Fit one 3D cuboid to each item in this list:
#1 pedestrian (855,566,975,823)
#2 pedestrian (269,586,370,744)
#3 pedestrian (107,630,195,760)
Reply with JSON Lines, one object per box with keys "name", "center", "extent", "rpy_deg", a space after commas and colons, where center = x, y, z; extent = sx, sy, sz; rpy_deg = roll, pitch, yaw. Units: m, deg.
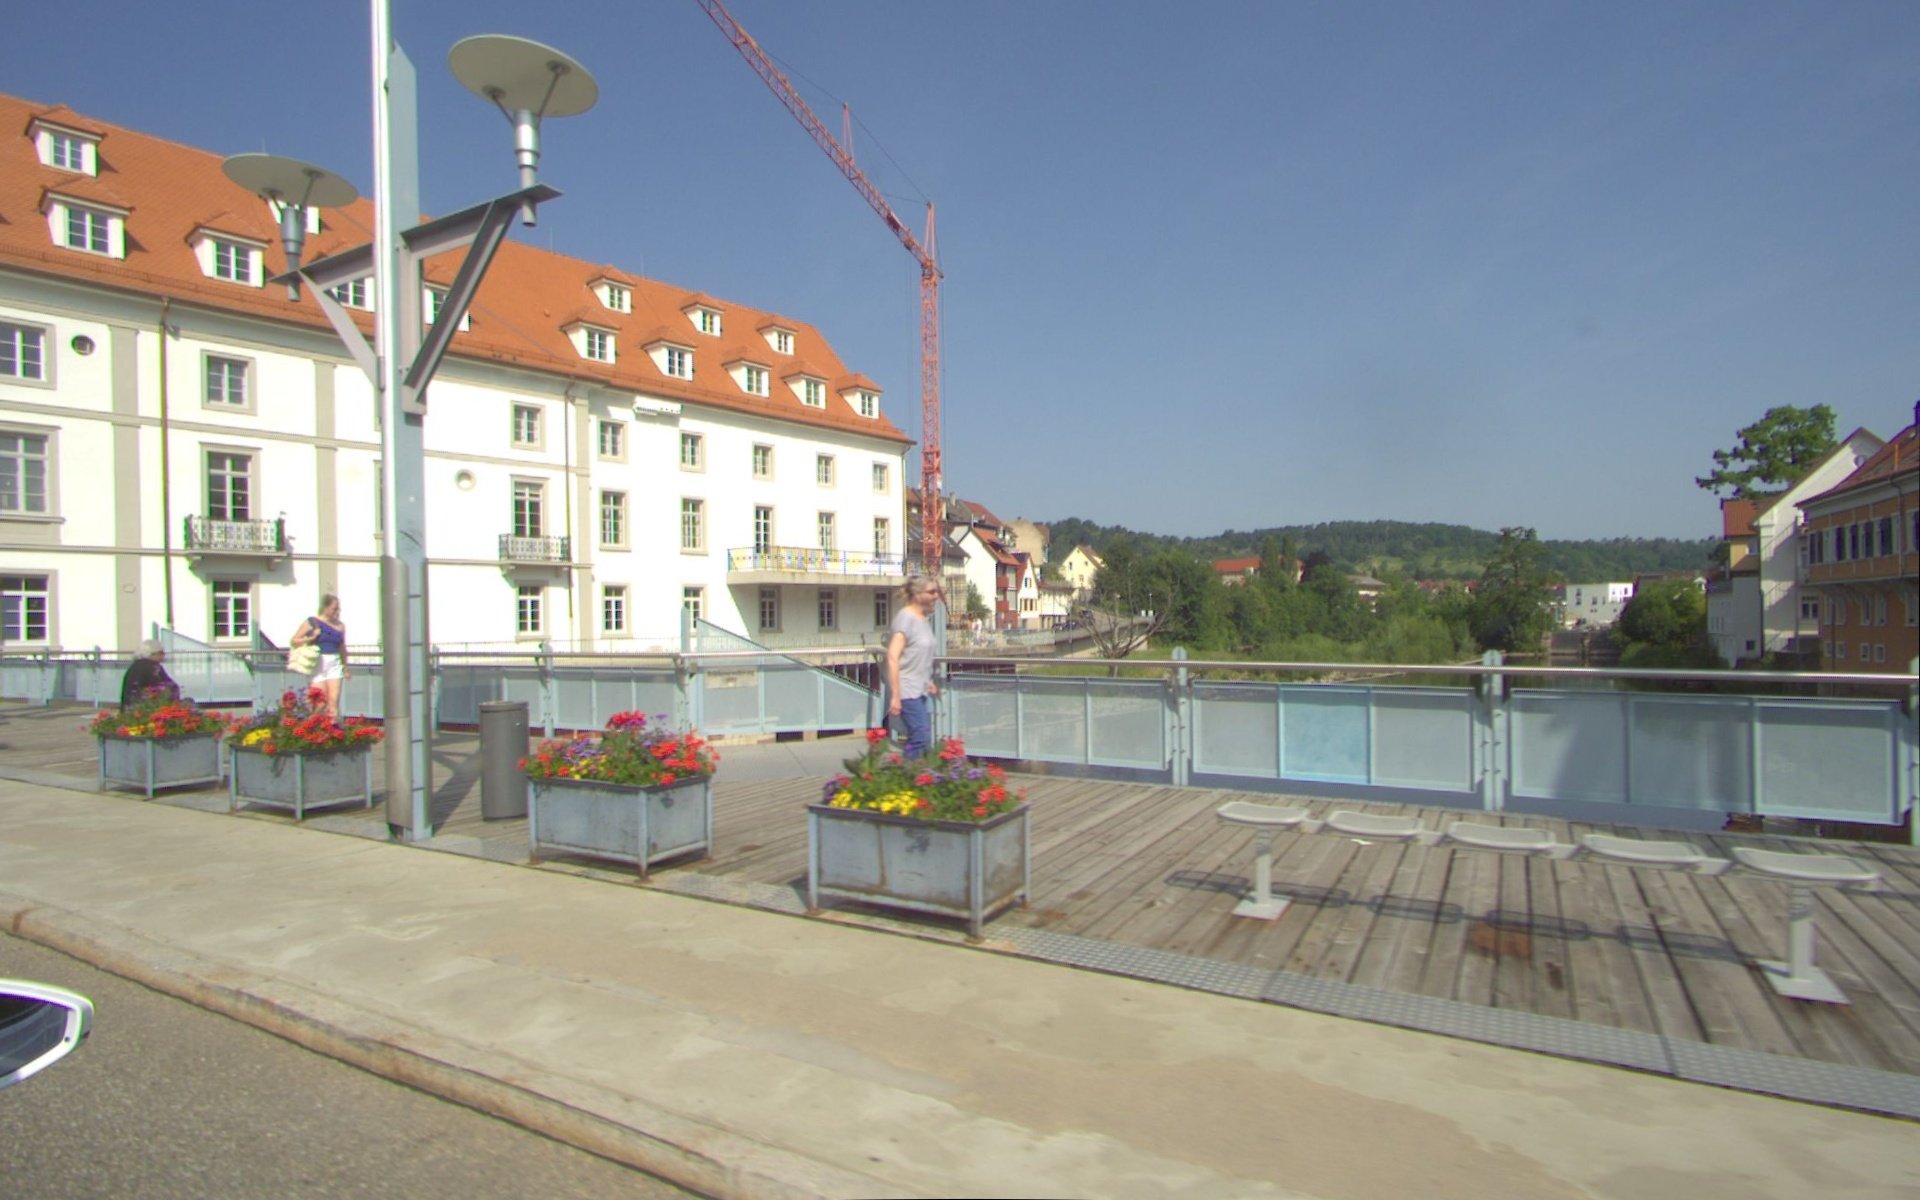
{"name": "pedestrian", "center": [-0.297, 0.612, 6.828], "extent": [0.554, 1.639, 0.665], "rpy_deg": [0, 0, 28]}
{"name": "pedestrian", "center": [-7.391, 0.726, 11.563], "extent": [0.736, 1.745, 0.725], "rpy_deg": [0, 0, 29]}
{"name": "pedestrian", "center": [-8.179, 0.942, 10.133], "extent": [0.616, 1.260, 0.451], "rpy_deg": [-1, 0, 25]}
